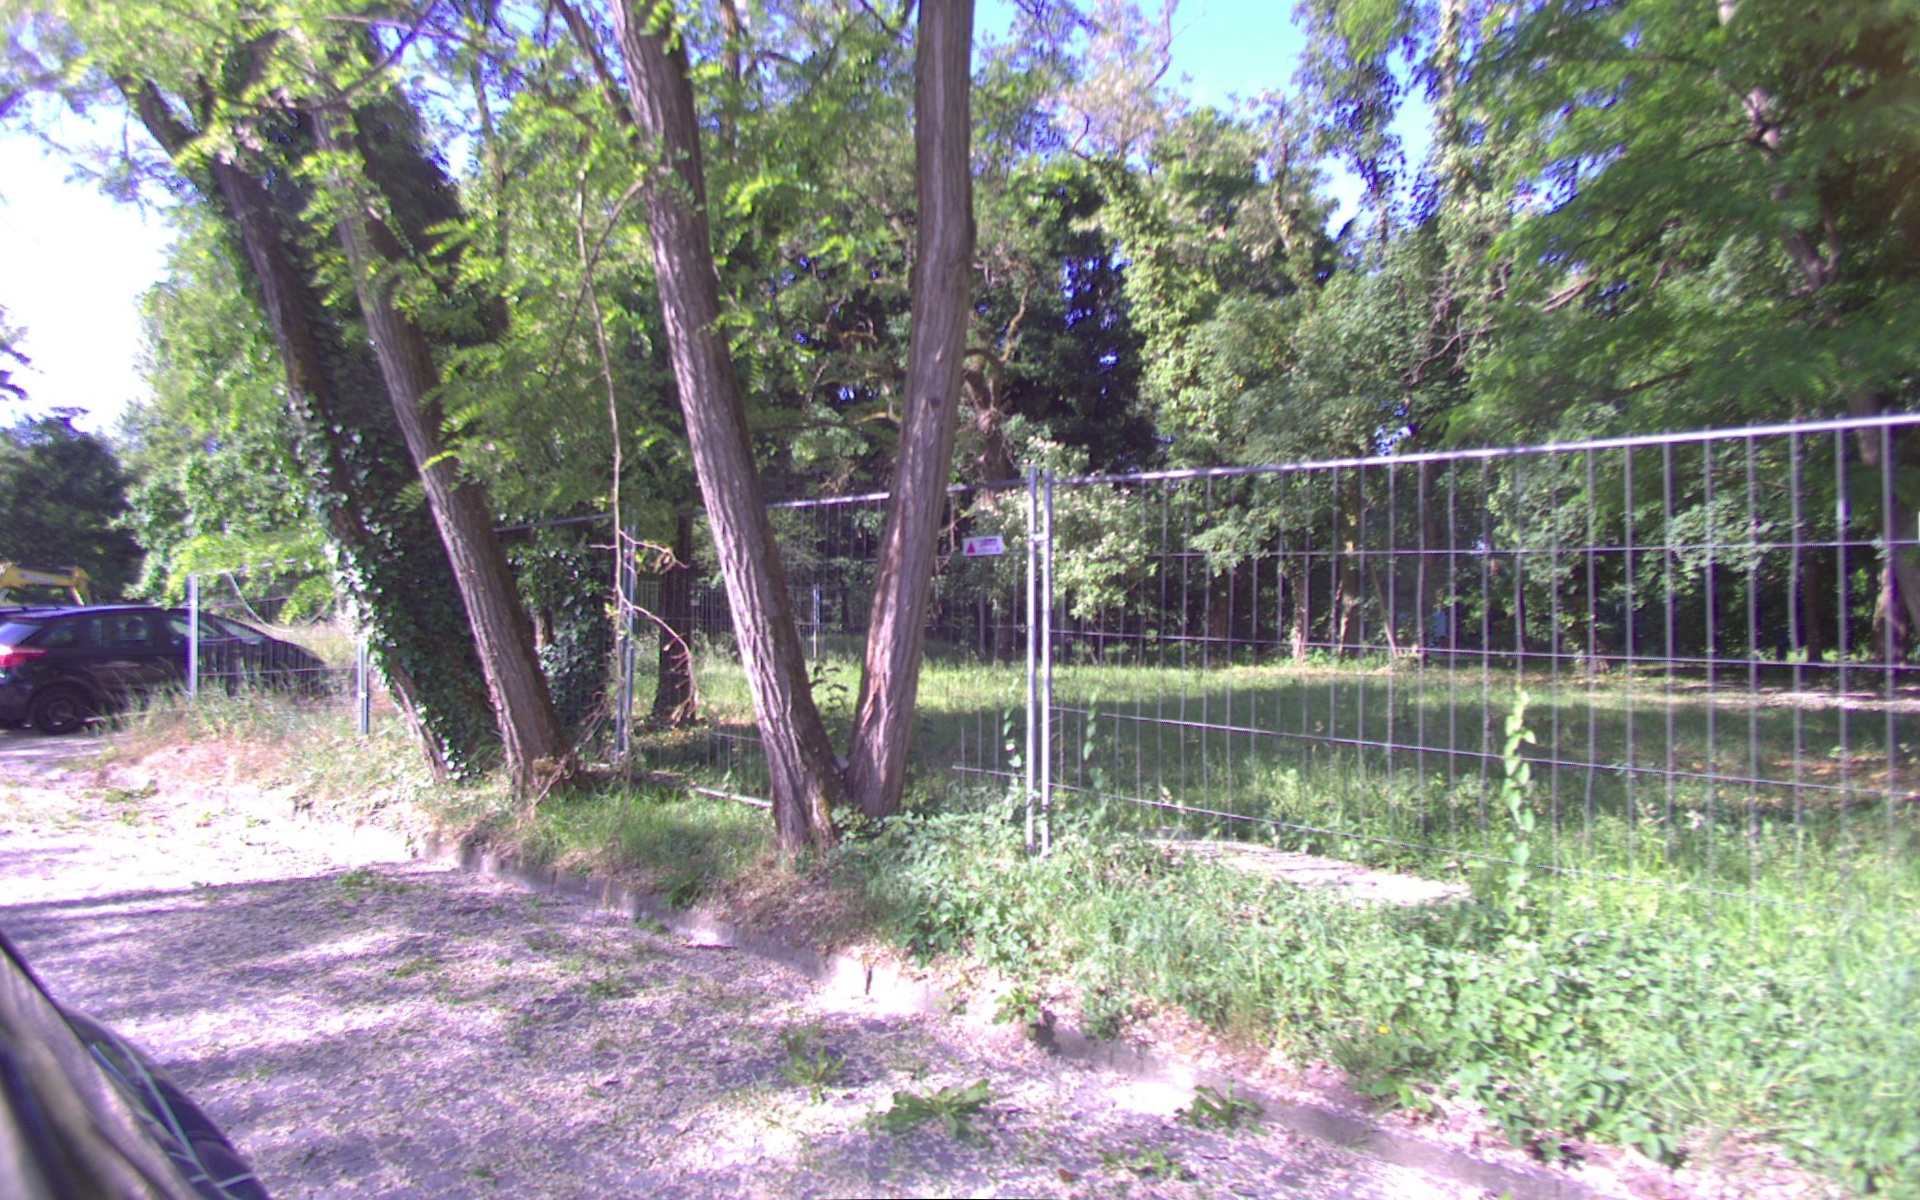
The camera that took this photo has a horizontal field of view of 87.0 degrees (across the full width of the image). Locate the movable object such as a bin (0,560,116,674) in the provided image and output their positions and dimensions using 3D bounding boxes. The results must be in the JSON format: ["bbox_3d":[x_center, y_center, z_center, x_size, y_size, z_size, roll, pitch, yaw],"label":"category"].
[{"bbox_3d":[-26.099,0.456,27.084,1.997,2.988,5.100,-1,-1,37],"label":"movable object such as a bin"}]

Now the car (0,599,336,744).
[{"bbox_3d":[-11.742,0.900,14.670,1.785,1.664,4.260,-1,1,28],"label":"car"}]

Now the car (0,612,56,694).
[{"bbox_3d":[-19.304,1.062,18.651,1.710,1.504,3.620,-1,1,35],"label":"car"}]

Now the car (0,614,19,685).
[{"bbox_3d":[-21.473,1.065,20.184,1.829,1.462,3.623,-1,1,33],"label":"car"}]

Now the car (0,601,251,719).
[{"bbox_3d":[-14.324,0.915,16.500,1.812,1.668,4.145,-1,0,32],"label":"car"}]
